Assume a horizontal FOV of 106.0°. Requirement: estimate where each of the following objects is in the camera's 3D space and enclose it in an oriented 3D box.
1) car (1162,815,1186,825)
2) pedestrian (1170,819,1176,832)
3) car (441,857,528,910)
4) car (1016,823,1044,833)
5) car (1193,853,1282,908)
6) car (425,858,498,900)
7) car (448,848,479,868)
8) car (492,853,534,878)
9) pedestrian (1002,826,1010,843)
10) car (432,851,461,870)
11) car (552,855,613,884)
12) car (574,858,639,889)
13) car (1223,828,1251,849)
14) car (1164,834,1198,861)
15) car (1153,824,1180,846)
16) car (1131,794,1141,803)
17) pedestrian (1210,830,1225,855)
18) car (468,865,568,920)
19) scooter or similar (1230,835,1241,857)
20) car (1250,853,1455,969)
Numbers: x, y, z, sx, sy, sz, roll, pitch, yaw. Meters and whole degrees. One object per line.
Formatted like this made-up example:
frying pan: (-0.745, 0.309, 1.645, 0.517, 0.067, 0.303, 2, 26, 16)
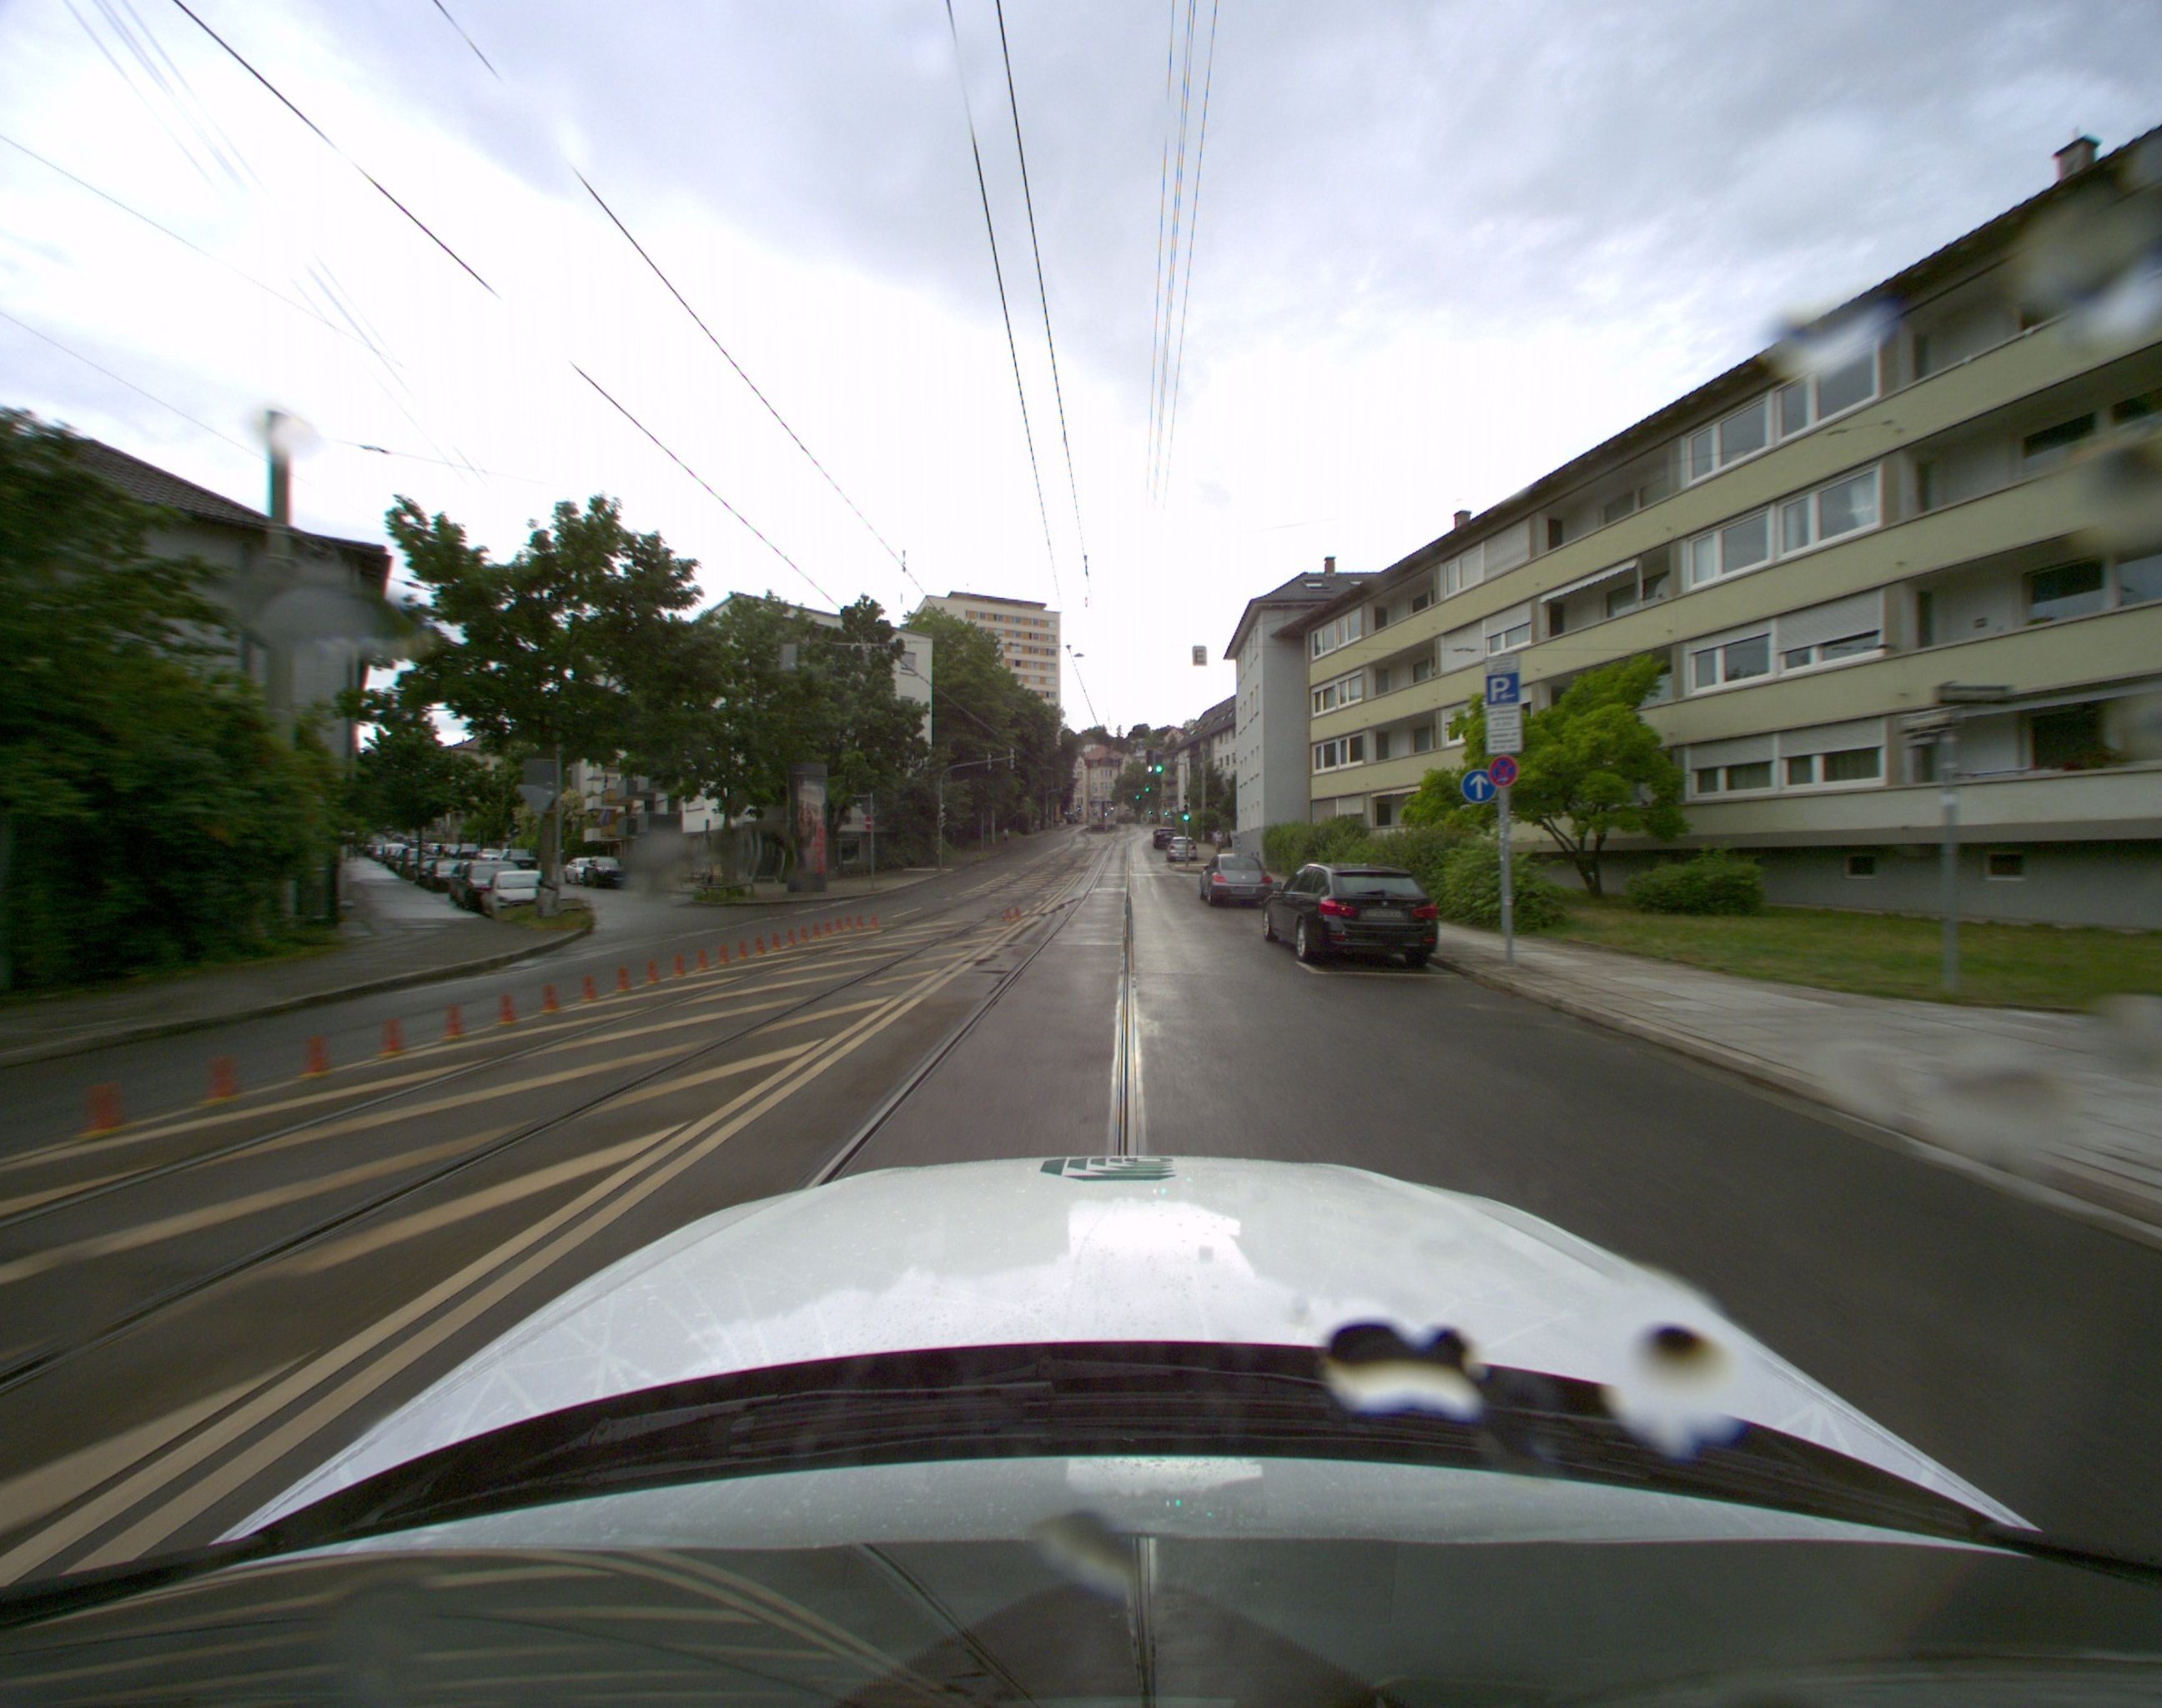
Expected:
car: (16.201, -5.861, 141.847, 3.971, 1.645, 1.809, 1, 1, 2)
pedestrian: (11.204, -3.495, 99.117, 0.640, 1.628, 0.702, 0, 1, 12)
car: (-21.024, 0.979, 28.630, 1.852, 1.706, 4.584, 1, -1, -44)
car: (-7.633, -3.839, 122.065, 3.950, 1.406, 1.692, 0, -1, 26)
car: (4.554, 0.726, 24.275, 1.933, 1.464, 4.207, 1, 0, 1)
car: (-24.916, 0.947, 32.711, 1.852, 1.579, 4.122, 1, -1, -44)
car: (-63.939, 0.455, 84.298, 2.011, 2.014, 3.951, 2, -1, -44)
car: (-43.677, 0.851, 62.595, 2.011, 1.860, 3.951, 2, -1, -44)
pedestrian: (-6.881, -1.792, 74.837, 0.581, 1.600, 0.869, 2, 2, -1)
car: (-69.367, 0.715, 88.991, 2.011, 2.014, 3.951, 2, -1, -44)
car: (-28.548, 0.878, 46.601, 2.011, 1.596, 4.616, 2, -1, -44)
car: (-24.739, 0.975, 42.396, 2.011, 1.518, 3.951, 2, -1, -44)
car: (12.950, -1.270, 67.909, 1.713, 1.515, 4.206, 1, -1, 3)
car: (5.991, -0.426, 49.153, 1.698, 1.433, 4.105, 1, 3, 2)
car: (6.826, -1.543, 65.460, 1.899, 1.641, 4.693, 1, 3, 2)
car: (11.393, -11.518, 169.201, 1.899, 1.641, 4.693, 1, 3, 2)
pedestrian: (9.005, -0.782, 53.651, 0.878, 1.582, 0.803, -1, 4, 5)
car: (-17.092, 1.097, 24.644, 2.010, 1.481, 4.111, 2, -1, -41)
scooter or similar: (9.432, -0.502, 49.685, 0.571, 1.249, 1.615, 0, 5, 8)
car: (4.032, 0.740, 12.968, 1.851, 1.487, 4.647, 1, 0, 2)
